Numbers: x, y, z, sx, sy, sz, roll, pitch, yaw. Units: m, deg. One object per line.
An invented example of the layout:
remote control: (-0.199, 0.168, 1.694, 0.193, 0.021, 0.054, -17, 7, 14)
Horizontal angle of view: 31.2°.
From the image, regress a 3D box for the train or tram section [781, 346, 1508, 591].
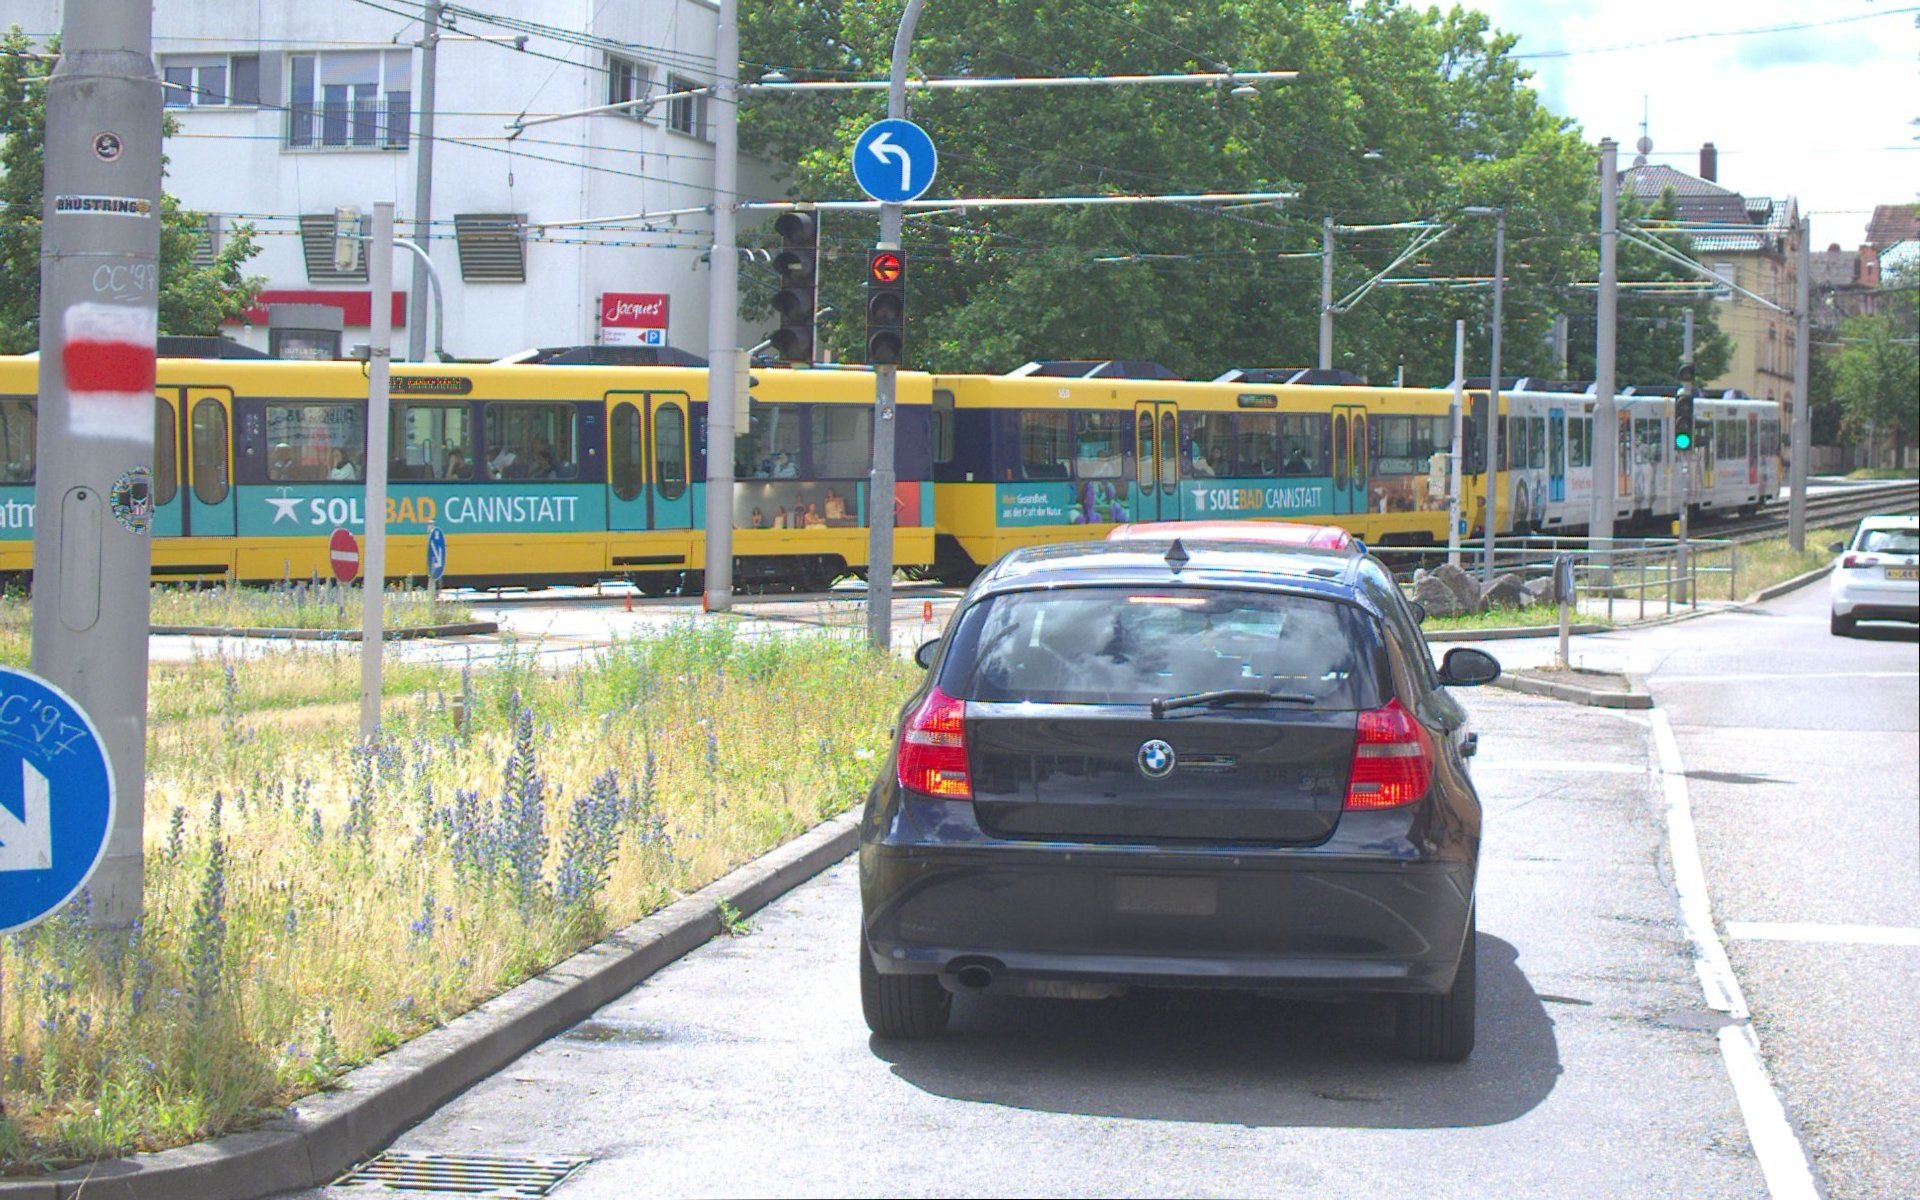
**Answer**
train or tram section: (4.165, -2.140, 63.072, 3.756, 3.816, 20.111, 0, 1, 33)

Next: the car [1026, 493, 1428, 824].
car: (1.455, 0.241, 17.385, 1.625, 1.468, 3.998, 0, 1, 10)

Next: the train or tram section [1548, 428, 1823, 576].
train or tram section: (21.101, -2.612, 98.445, 3.754, 3.801, 20.026, 0, 1, 24)

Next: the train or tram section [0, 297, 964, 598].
train or tram section: (-8.649, -2.029, 49.680, 18.838, 3.905, 3.761, 0, 1, -36)

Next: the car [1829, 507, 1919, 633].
car: (11.785, -0.393, 42.793, 1.816, 1.463, 3.998, 2, 2, 14)

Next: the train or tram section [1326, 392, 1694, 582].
train or tram section: (13.294, -2.388, 80.182, 3.754, 3.866, 20.611, 0, 1, 23)

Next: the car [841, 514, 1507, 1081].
car: (0.602, 0.486, 10.800, 1.701, 1.447, 4.000, 0, 1, 2)

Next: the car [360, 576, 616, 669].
car: (-8.352, 0.371, 60.996, 4.157, 1.579, 1.858, 0, 1, -39)
